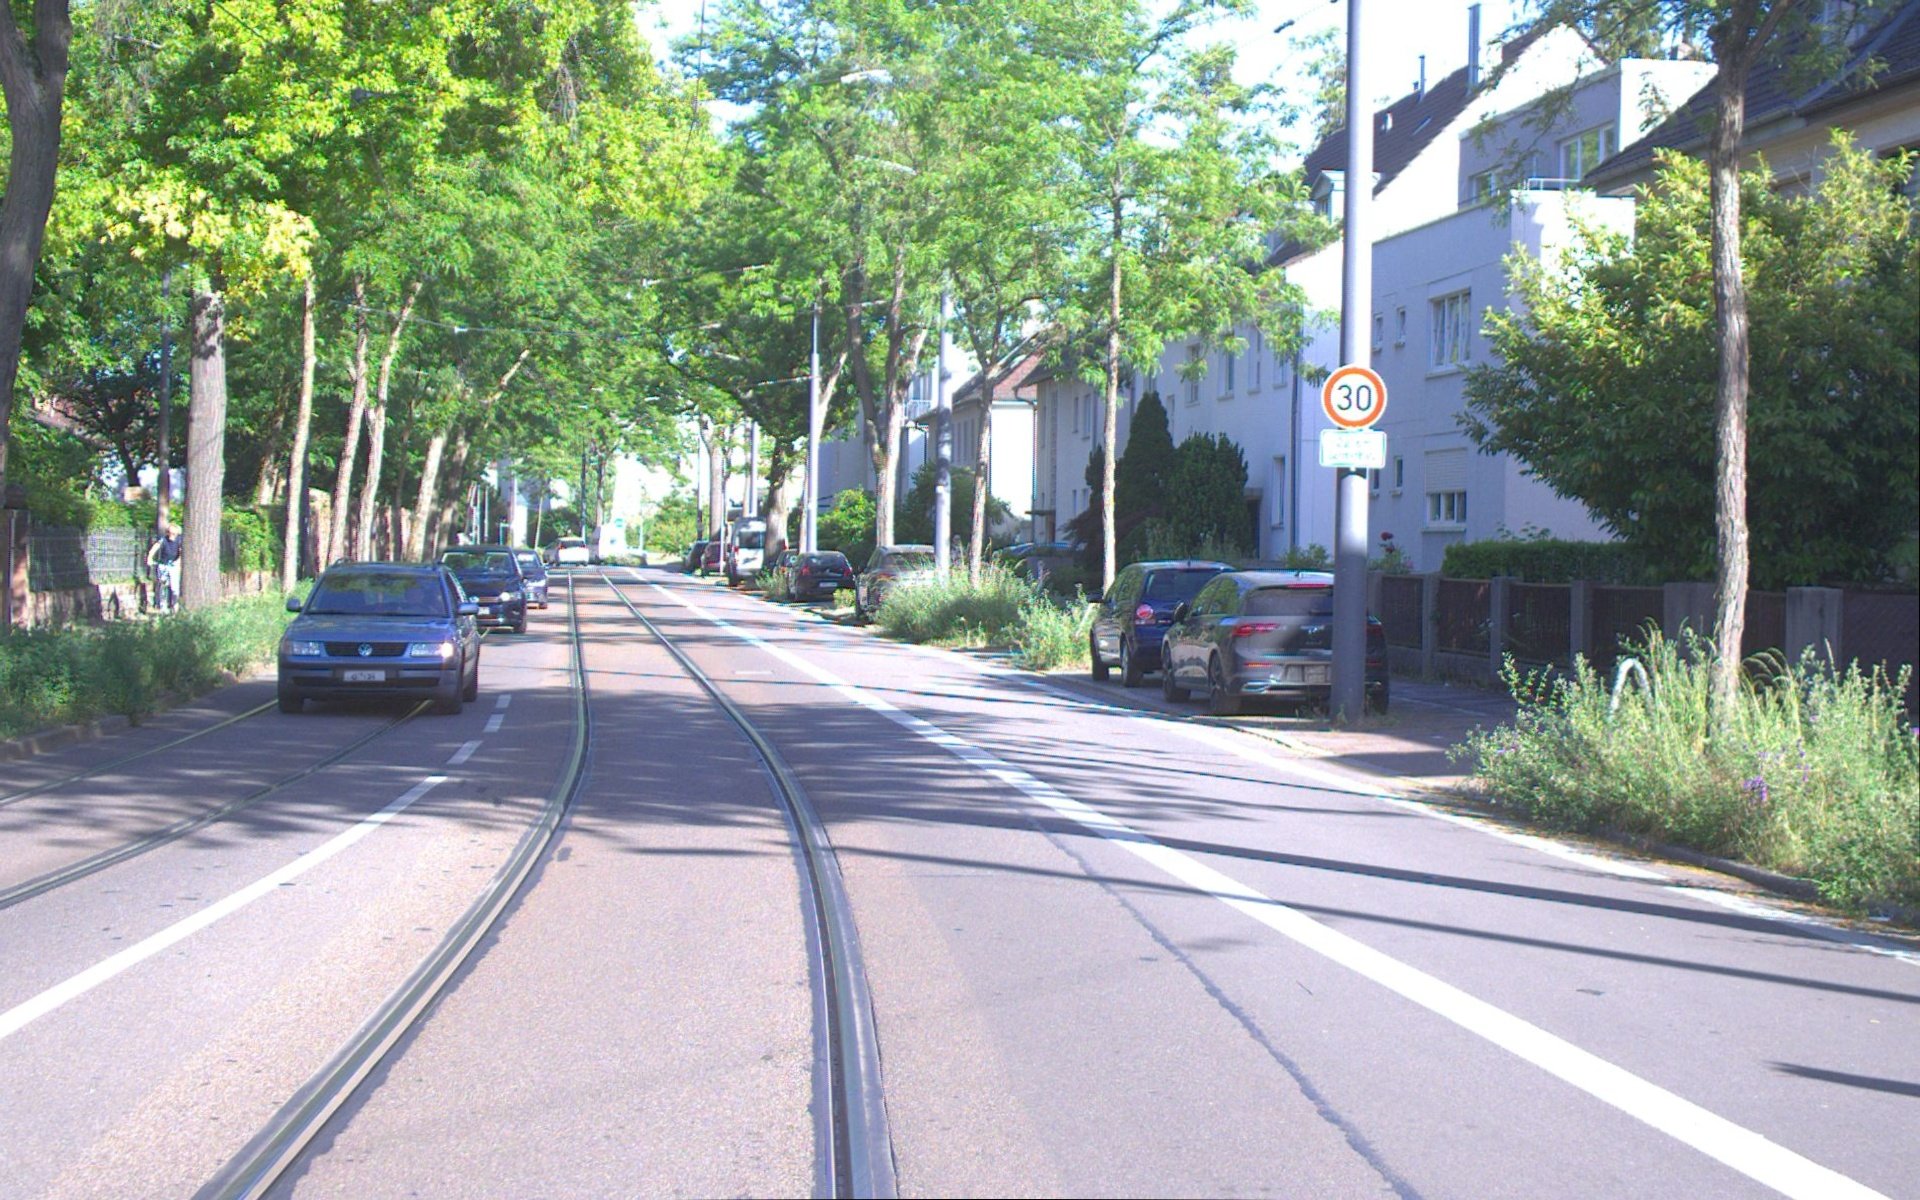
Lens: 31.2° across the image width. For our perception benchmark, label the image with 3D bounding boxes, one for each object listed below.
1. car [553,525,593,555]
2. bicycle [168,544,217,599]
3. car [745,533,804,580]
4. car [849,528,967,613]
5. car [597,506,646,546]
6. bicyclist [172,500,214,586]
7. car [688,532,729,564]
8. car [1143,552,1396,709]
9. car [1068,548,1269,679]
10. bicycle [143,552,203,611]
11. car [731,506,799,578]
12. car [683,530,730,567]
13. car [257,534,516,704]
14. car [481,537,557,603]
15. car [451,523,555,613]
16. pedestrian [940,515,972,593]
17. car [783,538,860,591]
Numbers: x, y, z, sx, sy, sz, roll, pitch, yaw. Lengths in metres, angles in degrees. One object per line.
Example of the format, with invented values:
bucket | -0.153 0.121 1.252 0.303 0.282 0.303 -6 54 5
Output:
car | -22.221 -3.460 197.295 1.865 1.669 4.174 0 1 -12
bicycle | -13.730 -0.514 61.533 0.589 0.957 2.133 1 1 -5
car | -5.931 -1.410 109.693 1.626 1.393 3.646 -2 2 -7
car | -1.154 -0.659 73.773 1.993 1.698 4.478 -2 1 -7
car | -20.899 -4.566 212.043 1.993 2.449 4.510 0 1 -19
bicyclist | -13.716 -1.017 61.483 0.593 1.522 1.061 1 1 -5
car | -13.195 -2.740 180.549 2.002 1.669 4.393 -1 1 -3
car | 3.130 0.267 35.637 1.748 1.490 4.444 0 1 -6
car | 2.469 0.125 41.563 1.748 1.490 3.997 0 1 -6
bicycle | -13.280 -0.315 58.027 0.711 0.957 2.095 1 1 -5
car | -7.479 -2.212 131.137 2.245 2.645 5.586 -1 1 -7
car | -12.027 -2.454 162.968 2.002 1.669 4.393 -1 1 -7
car | -5.567 0.138 33.888 1.993 1.519 4.580 1 1 -3
car | -10.763 -0.753 84.034 1.748 1.519 4.071 1 1 -7
car | -8.163 -0.594 61.679 1.748 1.519 4.036 1 1 -7
pedestrian | -0.094 -1.111 83.386 0.625 1.864 0.732 -2 1 -7
car | -4.068 -1.049 100.211 1.783 1.443 4.302 -2 2 -8
